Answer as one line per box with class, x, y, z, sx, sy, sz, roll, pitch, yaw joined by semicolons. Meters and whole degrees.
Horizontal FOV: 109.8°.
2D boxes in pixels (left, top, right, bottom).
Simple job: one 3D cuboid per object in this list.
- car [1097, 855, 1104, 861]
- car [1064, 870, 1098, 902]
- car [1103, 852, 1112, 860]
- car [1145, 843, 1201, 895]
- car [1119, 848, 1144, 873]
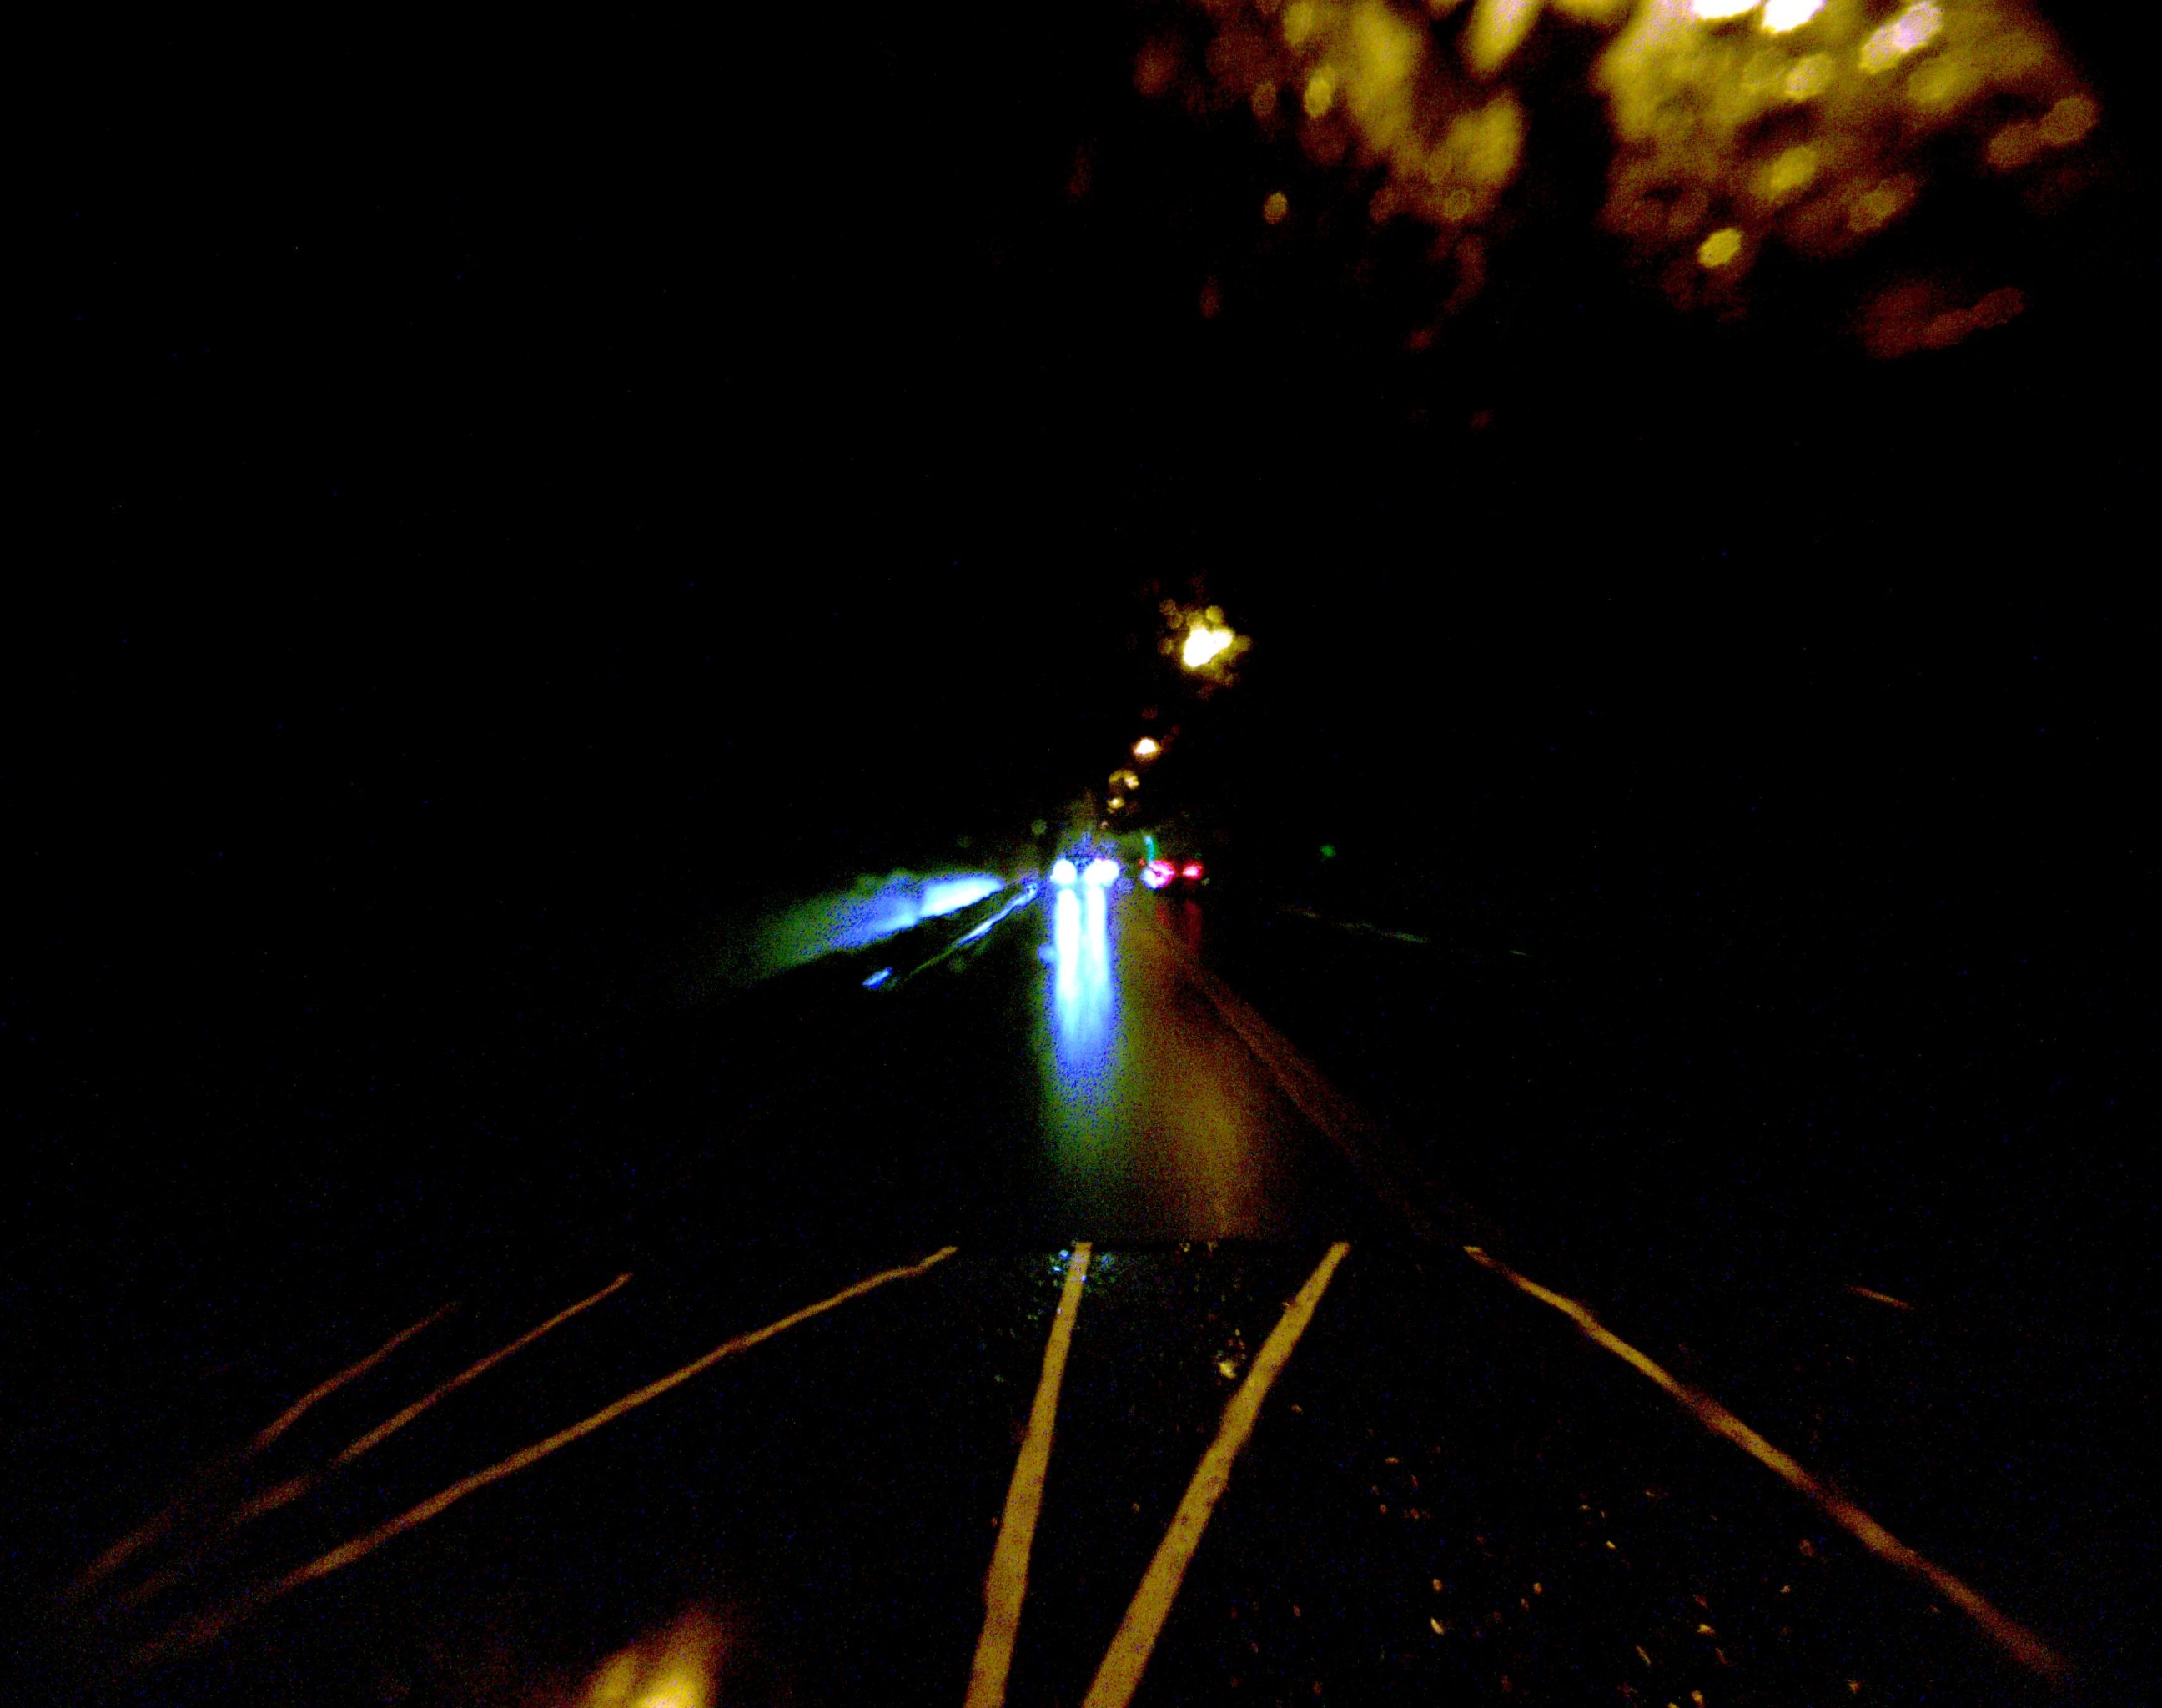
car;5.296;1.165;206.193;1.701;1.666;4.127;-1;0;1
car;0.040;1.571;38.357;1.627;1.487;3.585;-1;0;1
car;4.860;0.392;141.076;1.524;1.540;4.055;-1;-1;1
car;3.547;0.545;30.044;1.765;1.888;4.608;-1;0;1
car;4.150;0.521;62.522;1.845;1.888;4.608;-1;0;1
